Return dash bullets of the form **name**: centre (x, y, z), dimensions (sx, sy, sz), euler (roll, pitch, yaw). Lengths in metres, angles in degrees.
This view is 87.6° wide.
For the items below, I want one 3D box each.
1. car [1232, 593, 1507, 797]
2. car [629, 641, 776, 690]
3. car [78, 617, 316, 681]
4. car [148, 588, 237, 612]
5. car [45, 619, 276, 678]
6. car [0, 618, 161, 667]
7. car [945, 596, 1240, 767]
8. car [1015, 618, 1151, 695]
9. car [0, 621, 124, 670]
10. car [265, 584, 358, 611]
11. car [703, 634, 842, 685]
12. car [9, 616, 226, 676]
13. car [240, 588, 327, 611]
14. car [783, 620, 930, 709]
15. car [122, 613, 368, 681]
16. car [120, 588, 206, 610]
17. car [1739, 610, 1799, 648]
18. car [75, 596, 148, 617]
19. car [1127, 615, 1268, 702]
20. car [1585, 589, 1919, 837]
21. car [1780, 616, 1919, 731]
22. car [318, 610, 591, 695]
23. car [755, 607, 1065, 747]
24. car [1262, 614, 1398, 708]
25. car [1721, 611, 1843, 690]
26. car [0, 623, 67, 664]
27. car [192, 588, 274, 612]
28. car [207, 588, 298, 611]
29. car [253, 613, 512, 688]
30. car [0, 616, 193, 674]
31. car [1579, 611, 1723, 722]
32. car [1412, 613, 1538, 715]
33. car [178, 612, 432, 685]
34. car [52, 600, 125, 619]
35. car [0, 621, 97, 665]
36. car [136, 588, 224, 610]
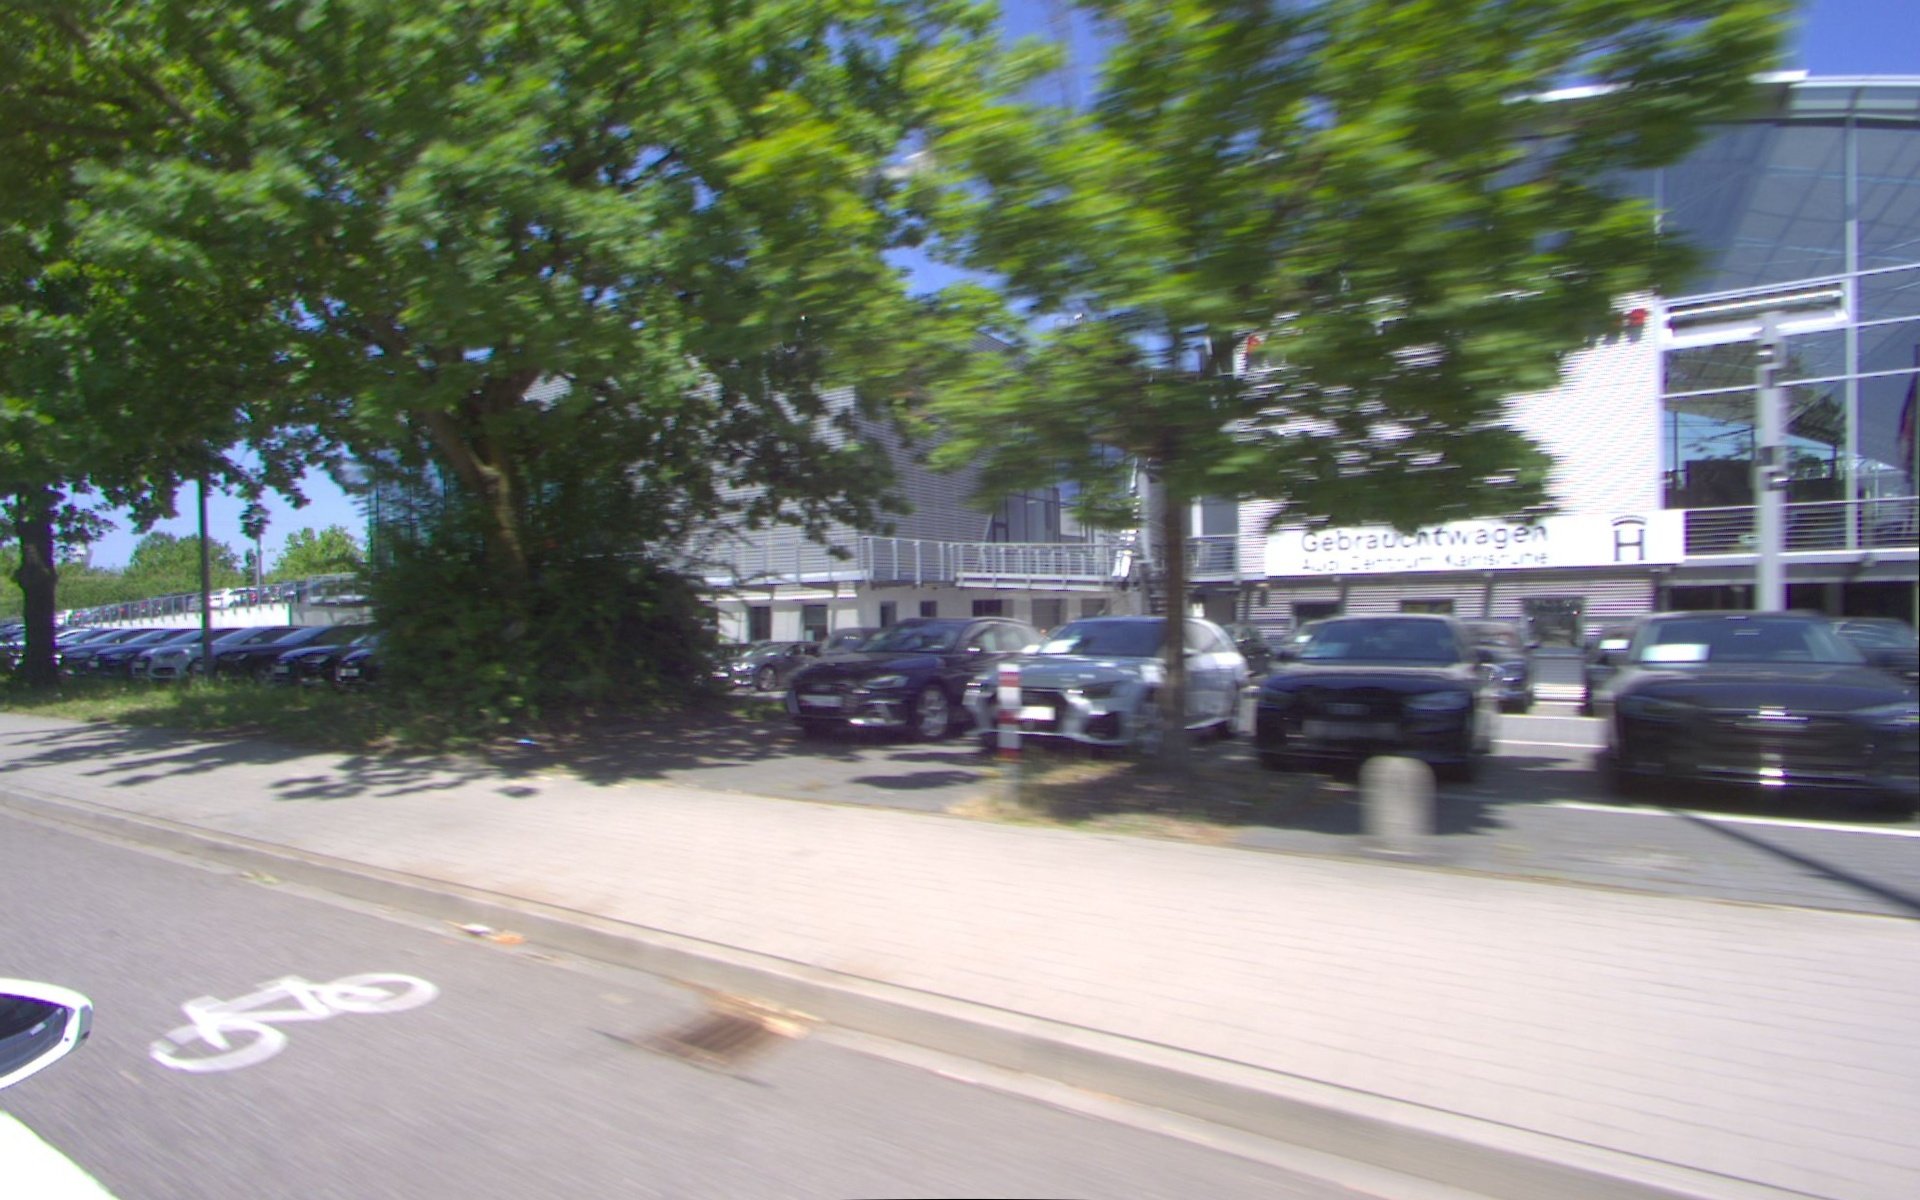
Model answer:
- **car**: centre (3.952, 0.777, 9.298), dimensions (1.807, 1.471, 3.677), euler (-1, -3, 31)
- **car**: centre (-7.791, 2.024, 30.695), dimensions (1.890, 1.378, 4.217), euler (-1, -4, 31)
- **car**: centre (-18.464, 1.221, 24.431), dimensions (1.890, 1.424, 4.217), euler (-1, -4, 31)
- **car**: centre (-47.040, 0.022, 61.471), dimensions (1.769, 1.328, 3.986), euler (-1, -2, 27)
- **car**: centre (-20.479, 1.294, 25.841), dimensions (1.960, 1.386, 4.217), euler (-1, -4, 31)
- **car**: centre (-27.053, 1.307, 30.177), dimensions (1.890, 1.358, 4.217), euler (-1, -4, 31)
- **car**: centre (1.575, 0.795, 10.674), dimensions (1.807, 1.471, 3.677), euler (-1, -3, 31)
- **car**: centre (2.890, 1.261, 22.812), dimensions (1.617, 1.603, 3.894), euler (-1, -3, 31)
- **car**: centre (-29.311, 1.441, 31.500), dimensions (1.890, 1.470, 4.217), euler (-1, -4, 31)
- **car**: centre (-35.603, -0.116, 55.086), dimensions (1.769, 1.328, 3.986), euler (-1, -2, 27)
- **car**: centre (-5.309, 1.746, 28.827), dimensions (1.670, 1.358, 4.065), euler (-2, -5, 31)
- **car**: centre (-22.749, 1.297, 27.206), dimensions (1.753, 1.397, 4.128), euler (-1, -5, 31)
- **car**: centre (-37.849, -0.012, 56.112), dimensions (1.658, 1.145, 3.724), euler (-1, -2, 27)
- **car**: centre (-1.951, 1.131, 17.537), dimensions (1.819, 1.331, 4.460), euler (2, -4, -16)
- **car**: centre (-16.349, 1.136, 23.125), dimensions (1.890, 1.424, 4.217), euler (-1, -4, 31)
- **car**: centre (-51.124, -0.052, 64.311), dimensions (1.769, 1.329, 3.984), euler (-1, 0, 27)
- **car**: centre (36.090, 1.321, 44.733), dimensions (1.589, 1.629, 3.507), euler (-1, -3, 31)
- **car**: centre (-57.687, 0.466, 68.116), dimensions (1.518, 1.255, 3.521), euler (-1, -2, 29)
- **car**: centre (5.169, 1.225, 21.442), dimensions (1.824, 1.675, 3.980), euler (-1, -3, 31)
- **car**: centre (6.174, 0.768, 8.093), dimensions (1.842, 1.471, 4.096), euler (-1, -3, 31)
- **car**: centre (14.307, 1.109, 15.762), dimensions (1.610, 1.593, 3.977), euler (-1, -3, 31)
- **car**: centre (-9.435, 1.031, 19.063), dimensions (1.799, 1.424, 4.321), euler (-1, -4, 31)
- **car**: centre (-0.419, 0.875, 12.460), dimensions (1.790, 1.419, 4.226), euler (0, -2, 31)
- **car**: centre (7.503, 1.190, 20.075), dimensions (1.824, 1.675, 3.980), euler (-1, -3, 31)
- **car**: centre (18.546, 1.137, 22.735), dimensions (1.618, 1.629, 3.643), euler (-1, -3, 31)
- **car**: centre (-33.501, 1.515, 34.131), dimensions (1.890, 1.359, 4.213), euler (-1, -1, 31)
- **car**: centre (-42.512, 0.010, 58.614), dimensions (1.650, 1.255, 3.523), euler (-1, -2, 27)
- **car**: centre (-40.440, -0.021, 57.334), dimensions (1.690, 1.227, 3.937), euler (-1, -1, 27)
- **car**: centre (-11.684, 1.082, 20.563), dimensions (1.852, 1.372, 4.217), euler (-1, -4, 31)
- **car**: centre (-24.947, 1.342, 28.730), dimensions (1.890, 1.402, 4.219), euler (-1, -6, 31)
- **car**: centre (11.874, 1.110, 17.440), dimensions (1.824, 1.675, 3.980), euler (-1, -3, 31)
- **car**: centre (9.748, 1.159, 18.806), dimensions (1.824, 1.675, 3.980), euler (-1, -3, 31)
- **car**: centre (-14.183, 1.106, 21.938), dimensions (1.890, 1.424, 4.217), euler (-1, -4, 31)
- **car**: centre (-60.651, 0.668, 69.726), dimensions (1.519, 1.255, 3.519), euler (-1, -2, 31)
- **car**: centre (-31.302, 1.397, 32.781), dimensions (1.890, 1.358, 4.217), euler (-1, -4, 31)
- **car**: centre (-48.999, -0.051, 62.966), dimensions (1.769, 1.329, 3.984), euler (-1, 0, 27)
